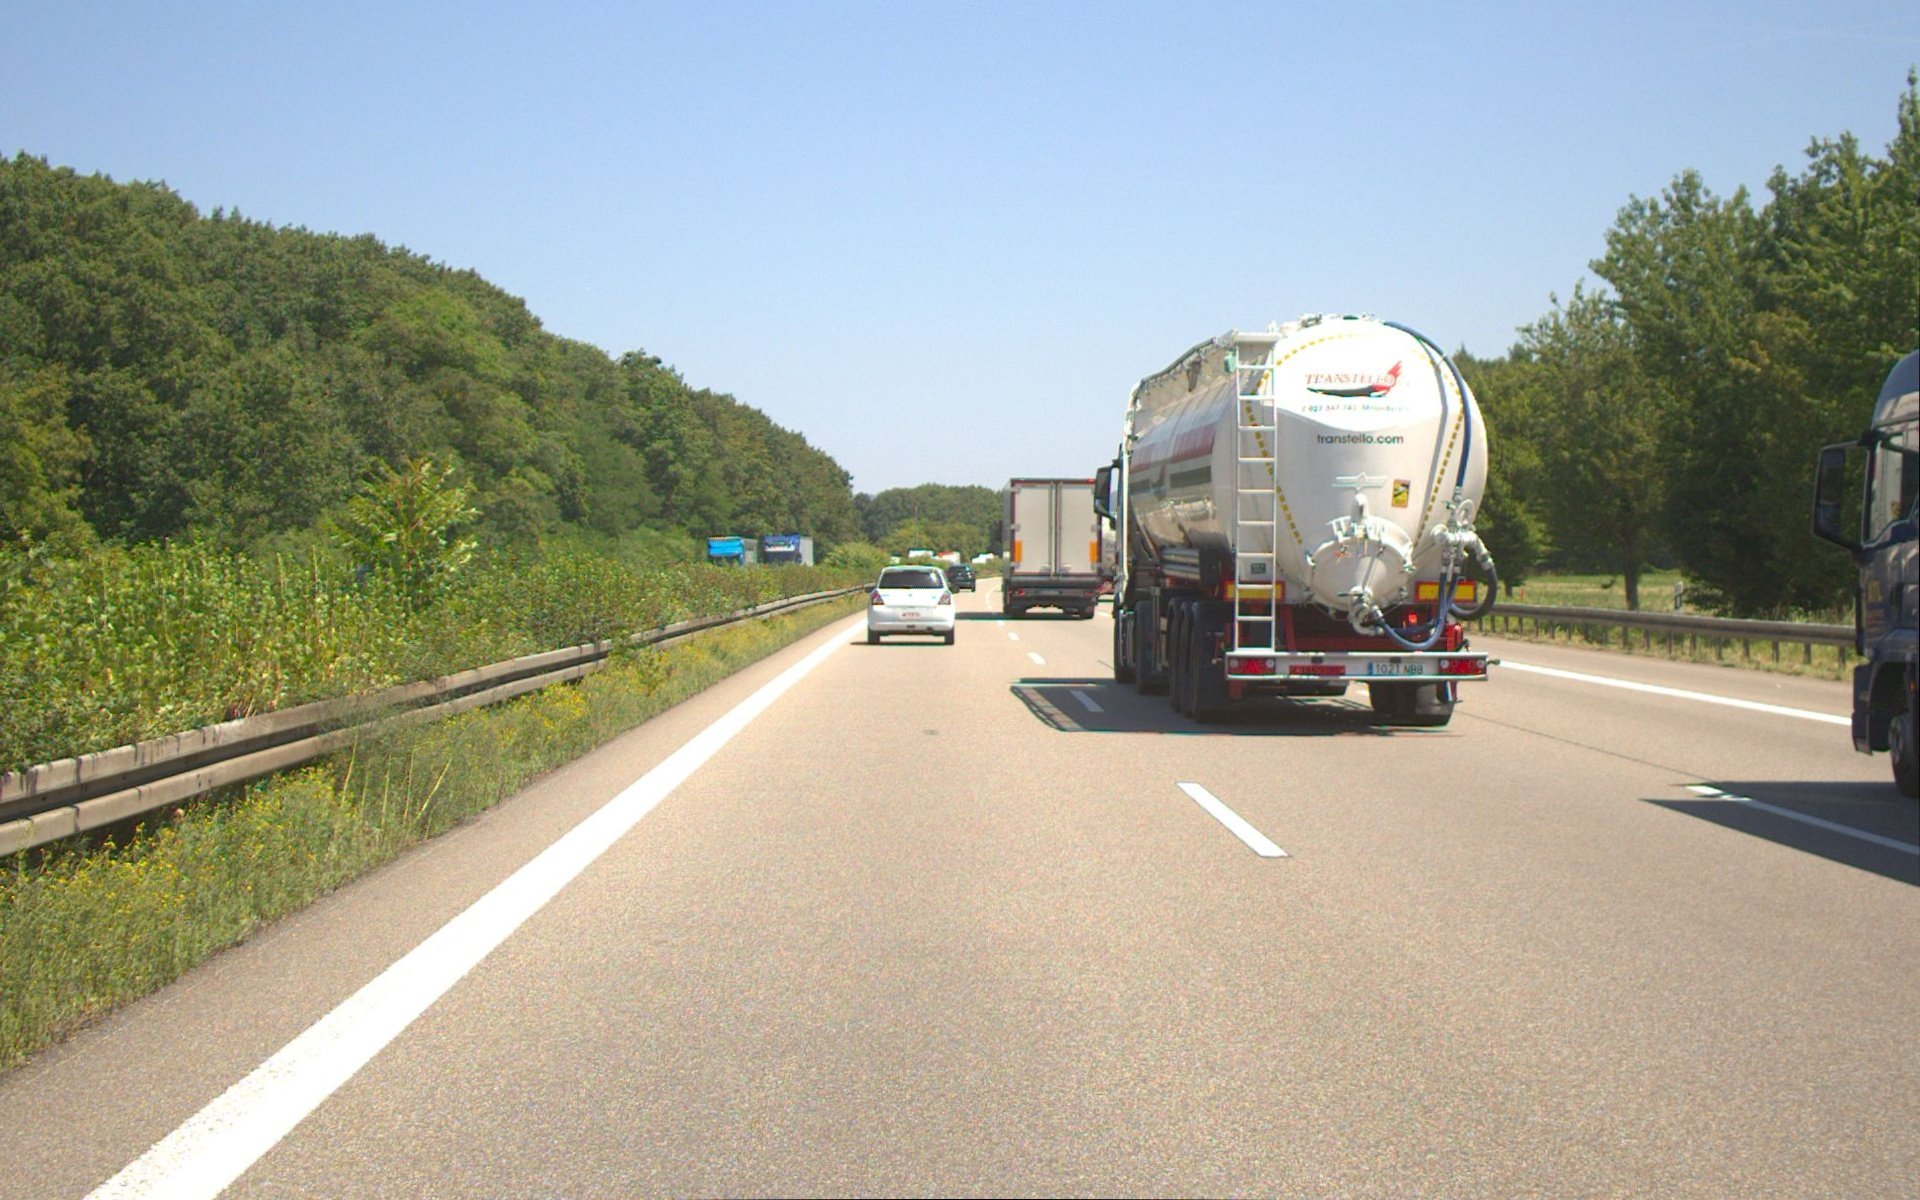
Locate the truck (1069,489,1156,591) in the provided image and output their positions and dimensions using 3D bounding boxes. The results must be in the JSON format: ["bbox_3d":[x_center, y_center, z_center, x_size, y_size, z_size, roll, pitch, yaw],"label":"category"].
[{"bbox_3d":[6.697,-2.641,152.588,3.223,4.330,10.807,0,1,-1],"label":"truck"}]

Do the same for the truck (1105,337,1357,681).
[{"bbox_3d":[3.419,-1.141,44.502,2.790,4.190,5.000,0,1,-1],"label":"truck"}]

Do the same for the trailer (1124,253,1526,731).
[{"bbox_3d":[3.516,-1.028,36.458,2.790,4.190,12.354,0,1,-1],"label":"trailer"}]

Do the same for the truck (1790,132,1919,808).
[{"bbox_3d":[7.374,-0.781,19.095,2.790,4.190,10.807,0,1,-1],"label":"truck"}]

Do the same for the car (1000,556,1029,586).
[{"bbox_3d":[3.251,-1.753,205.774,1.668,1.759,4.000,0,1,0],"label":"car"}]

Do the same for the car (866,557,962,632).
[{"bbox_3d":[-0.904,-0.122,66.824,1.811,1.400,3.317,0,1,-1],"label":"car"}]

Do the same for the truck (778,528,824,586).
[{"bbox_3d":[-11.090,-2.987,240.224,2.870,3.996,5.000,0,1,1],"label":"truck"}]

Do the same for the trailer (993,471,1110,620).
[{"bbox_3d":[2.836,-1.598,102.369,3.224,4.129,12.350,0,1,3],"label":"trailer"}]
